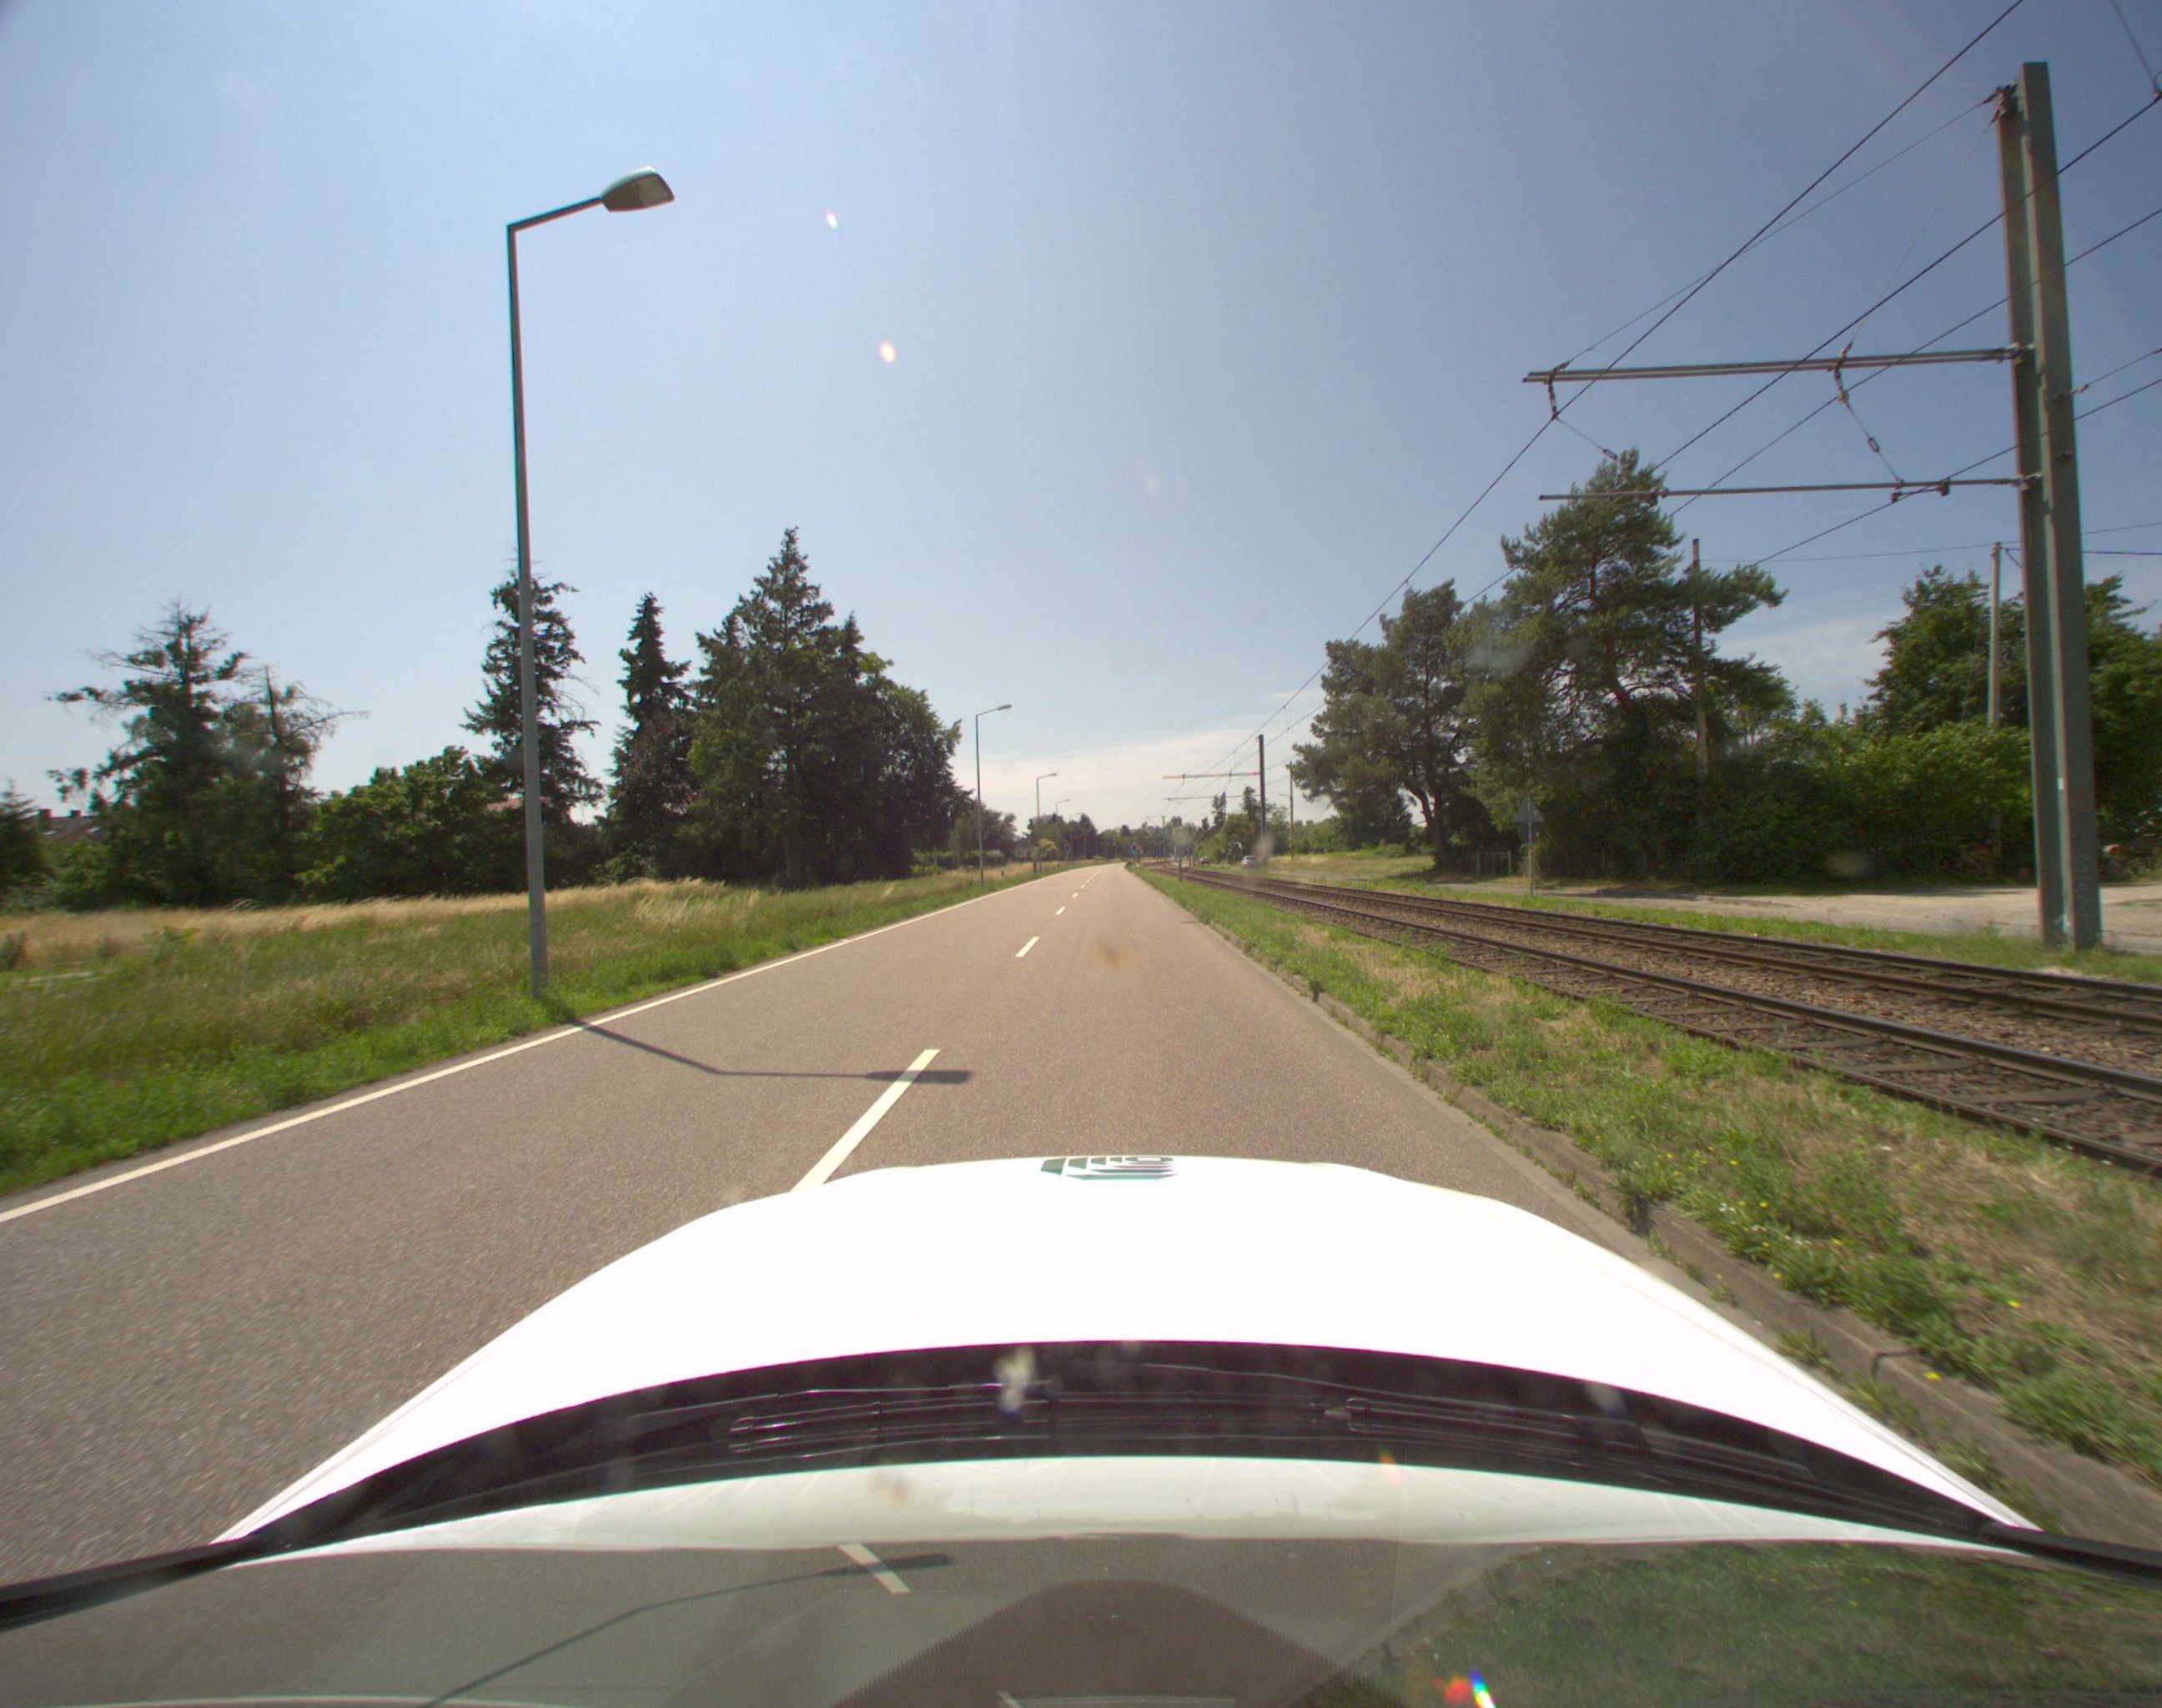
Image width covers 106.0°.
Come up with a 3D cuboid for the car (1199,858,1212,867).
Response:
[{"bbox_3d":[23.289,1.602,152.533,1.908,1.662,4.002,-2,-1,2],"label":"car"}]

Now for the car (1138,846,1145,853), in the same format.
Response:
[{"bbox_3d":[15.388,-1.072,207.553,1.545,1.585,3.571,-2,-1,2],"label":"car"}]

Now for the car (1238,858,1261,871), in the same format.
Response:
[{"bbox_3d":[20.118,1.273,97.171,1.986,1.508,4.002,-2,-1,2],"label":"car"}]

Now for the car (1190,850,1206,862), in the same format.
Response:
[{"bbox_3d":[16.420,0.292,114.644,1.737,1.559,4.002,-2,-1,2],"label":"car"}]

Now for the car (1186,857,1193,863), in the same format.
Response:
[{"bbox_3d":[31.975,1.835,240.464,1.750,1.750,4.002,-2,-1,2],"label":"car"}]
